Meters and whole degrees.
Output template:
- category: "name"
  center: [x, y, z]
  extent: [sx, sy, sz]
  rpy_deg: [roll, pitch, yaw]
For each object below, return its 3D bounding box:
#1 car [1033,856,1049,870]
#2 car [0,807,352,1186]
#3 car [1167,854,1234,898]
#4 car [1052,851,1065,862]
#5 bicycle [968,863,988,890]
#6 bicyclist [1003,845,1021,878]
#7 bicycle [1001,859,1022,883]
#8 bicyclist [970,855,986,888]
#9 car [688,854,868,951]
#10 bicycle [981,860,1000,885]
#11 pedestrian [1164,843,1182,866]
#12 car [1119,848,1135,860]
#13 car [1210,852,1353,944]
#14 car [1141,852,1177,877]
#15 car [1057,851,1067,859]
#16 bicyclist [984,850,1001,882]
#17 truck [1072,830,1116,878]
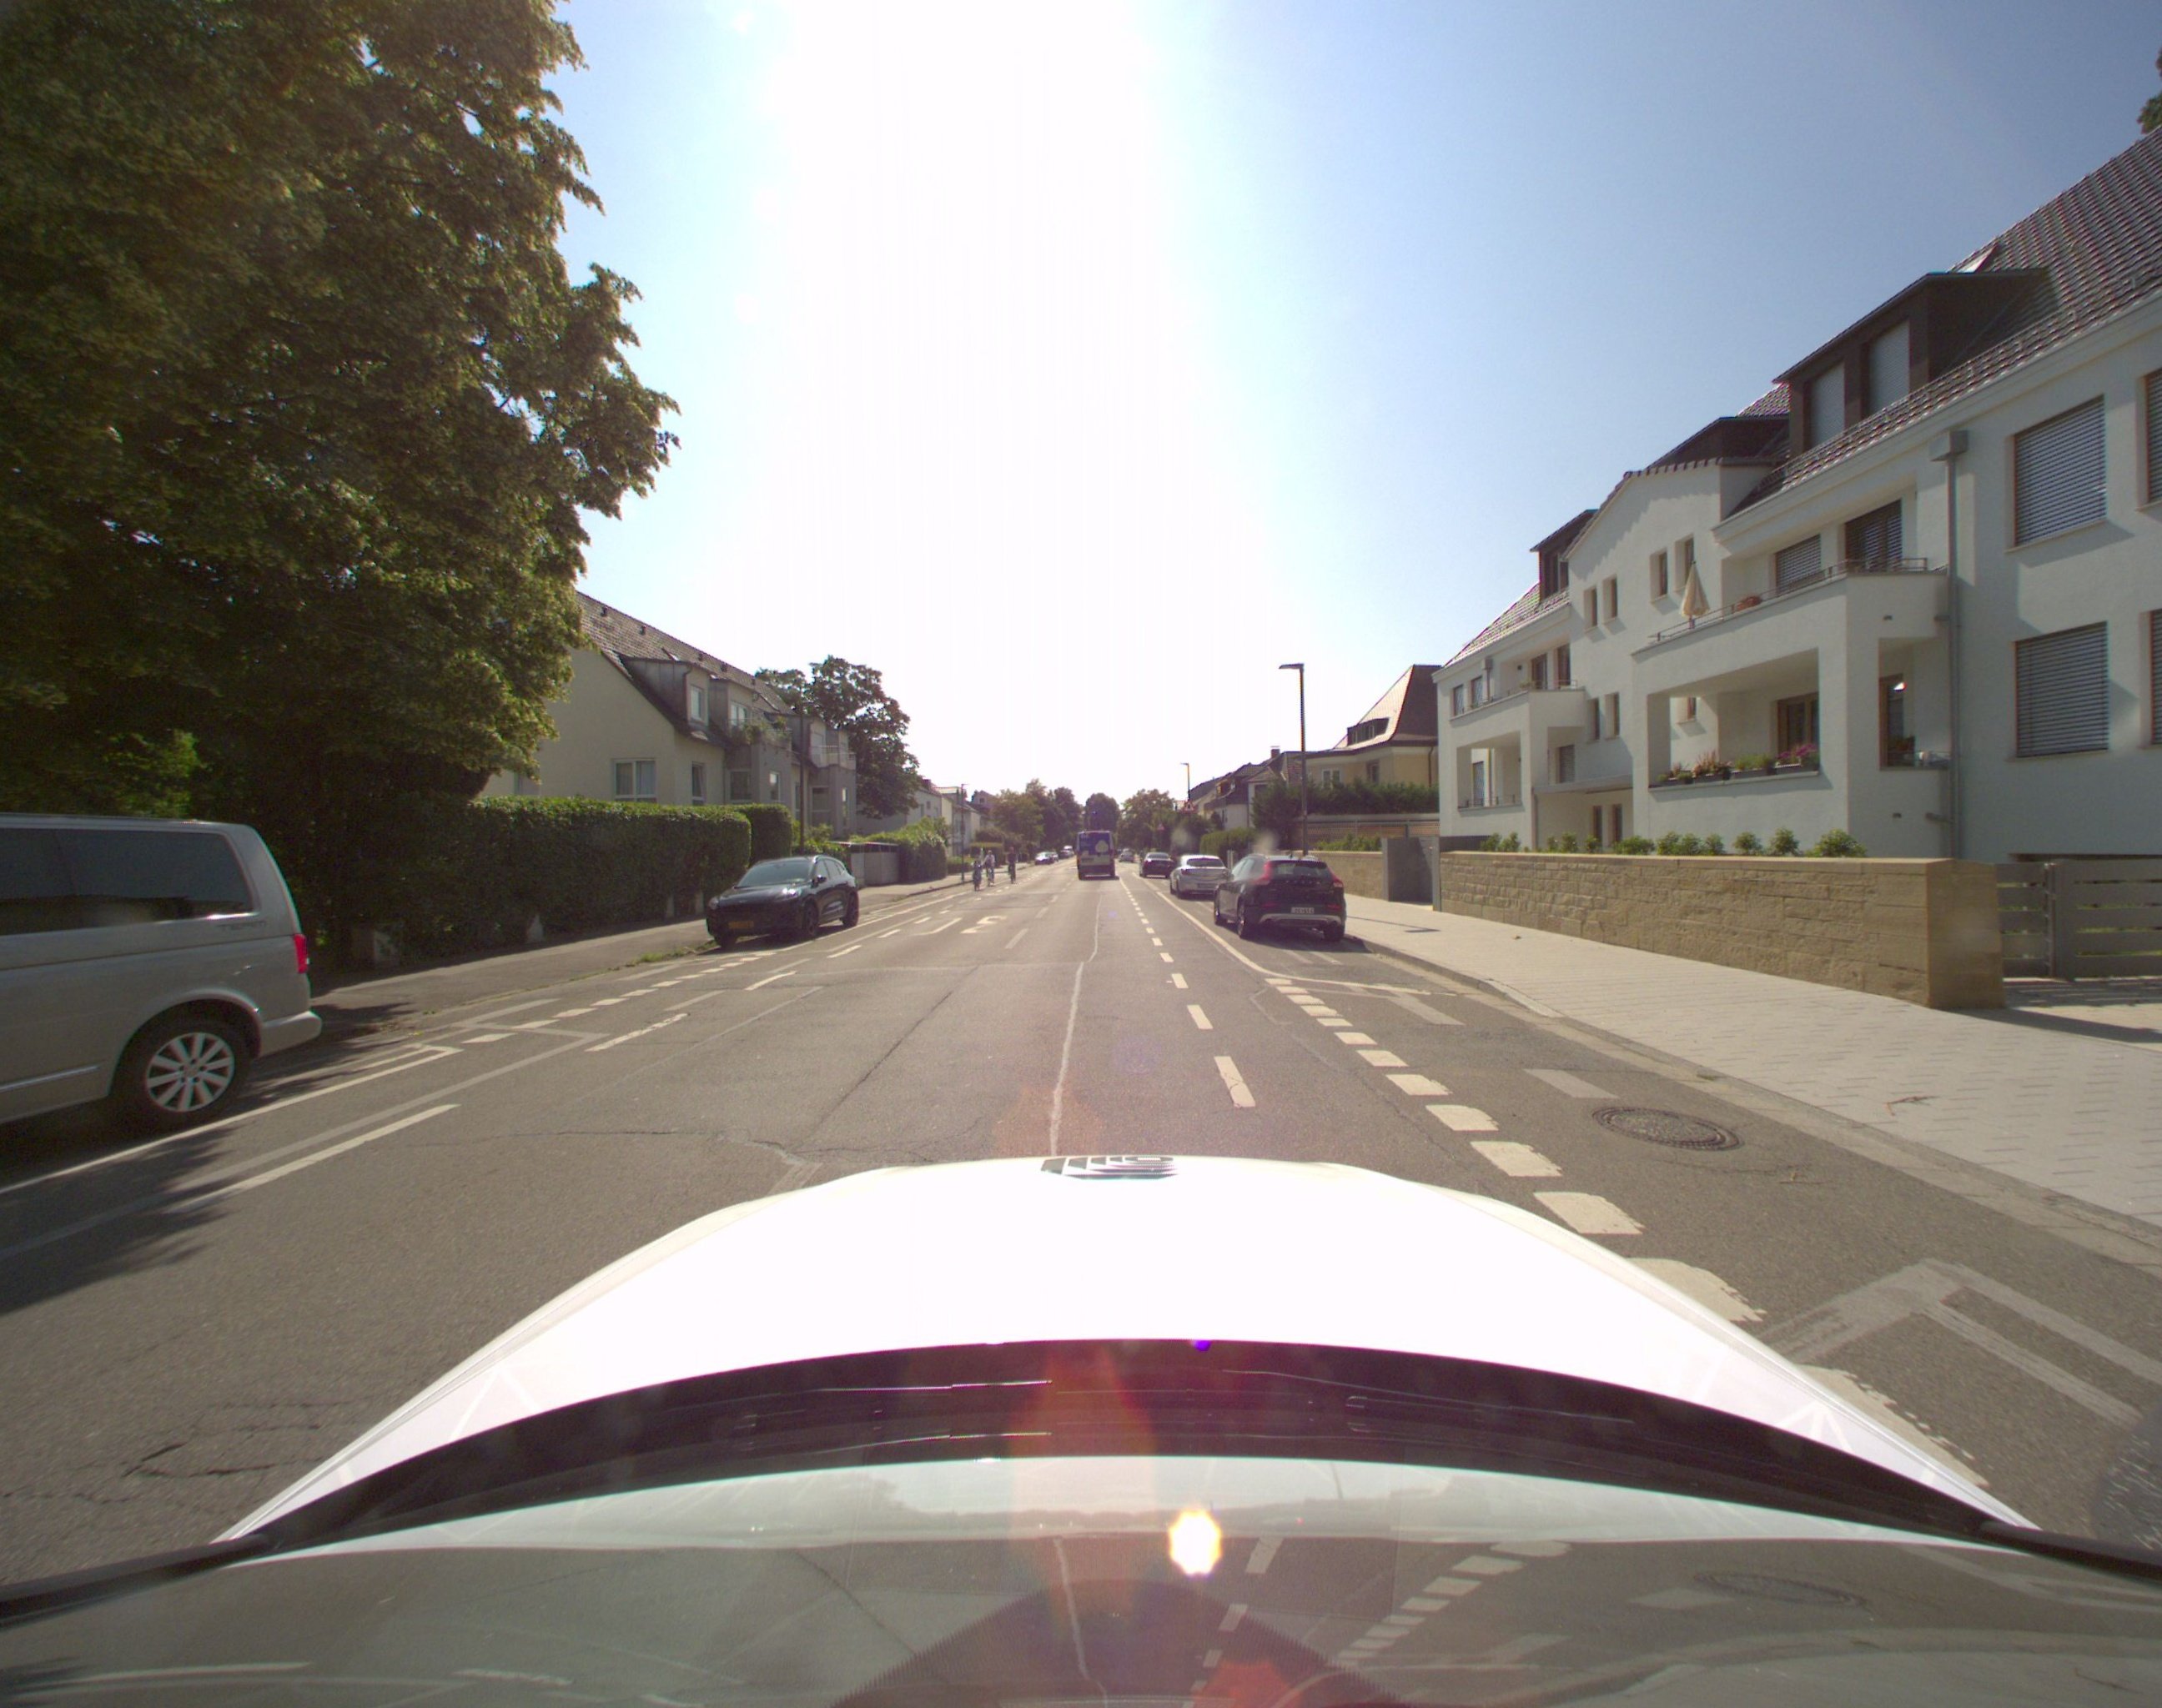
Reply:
- category: "car"
  center: [-4.763, 1.058, 98.239]
  extent: [1.780, 1.440, 4.152]
  rpy_deg: [-3, 0, -2]
- category: "car"
  center: [-6.467, 0.779, 3.607]
  extent: [1.878, 1.919, 4.870]
  rpy_deg: [-4, 0, 2]
- category: "car"
  center: [3.921, 0.713, 27.288]
  extent: [1.730, 1.329, 4.078]
  rpy_deg: [2, -1, 2]
- category: "car"
  center: [-3.378, 0.375, 121.635]
  extent: [1.779, 1.440, 4.000]
  rpy_deg: [-2, 0, 1]
- category: "bicycle"
  center: [-4.570, 0.984, 36.162]
  extent: [0.598, 1.105, 1.347]
  rpy_deg: [-3, 0, 2]
- category: "bicyclist"
  center: [-3.710, 0.404, 43.670]
  extent: [0.746, 1.667, 1.022]
  rpy_deg: [-3, 0, 2]
- category: "bicycle"
  center: [-3.708, 0.899, 43.521]
  extent: [0.779, 1.166, 2.421]
  rpy_deg: [-3, 0, 2]
- category: "bicyclist"
  center: [-4.581, 0.767, 36.149]
  extent: [0.488, 1.454, 0.965]
  rpy_deg: [-3, 0, 2]
- category: "car"
  center: [-6.085, 0.881, 17.002]
  extent: [1.844, 1.610, 4.450]
  rpy_deg: [-5, 0, 2]
- category: "bicycle"
  center: [-4.516, 0.897, 40.778]
  extent: [0.557, 1.185, 2.037]
  rpy_deg: [-3, 0, 2]
- category: "pedestrian"
  center: [7.705, 0.047, 68.033]
  extent: [0.905, 1.872, 1.177]
  rpy_deg: [-1, 0, -32]
- category: "car"
  center: [5.744, 0.026, 101.502]
  extent: [1.735, 1.402, 4.074]
  rpy_deg: [1, 1, 0]
- category: "car"
  center: [3.608, 0.719, 15.398]
  extent: [1.716, 1.449, 4.169]
  rpy_deg: [2, 0, 1]
- category: "car"
  center: [4.409, 0.559, 46.389]
  extent: [1.730, 1.329, 4.261]
  rpy_deg: [-2, 0, 1]
- category: "car"
  center: [-3.591, 0.255, 155.986]
  extent: [1.775, 1.460, 4.086]
  rpy_deg: [-2, 0, 0]
- category: "bicyclist"
  center: [-4.440, 0.605, 40.908]
  extent: [0.673, 1.580, 0.860]
  rpy_deg: [-3, 0, 1]
- category: "truck"
  center: [0.803, -0.014, 46.336]
  extent: [2.263, 2.571, 4.395]
  rpy_deg: [-1, 0, 3]
